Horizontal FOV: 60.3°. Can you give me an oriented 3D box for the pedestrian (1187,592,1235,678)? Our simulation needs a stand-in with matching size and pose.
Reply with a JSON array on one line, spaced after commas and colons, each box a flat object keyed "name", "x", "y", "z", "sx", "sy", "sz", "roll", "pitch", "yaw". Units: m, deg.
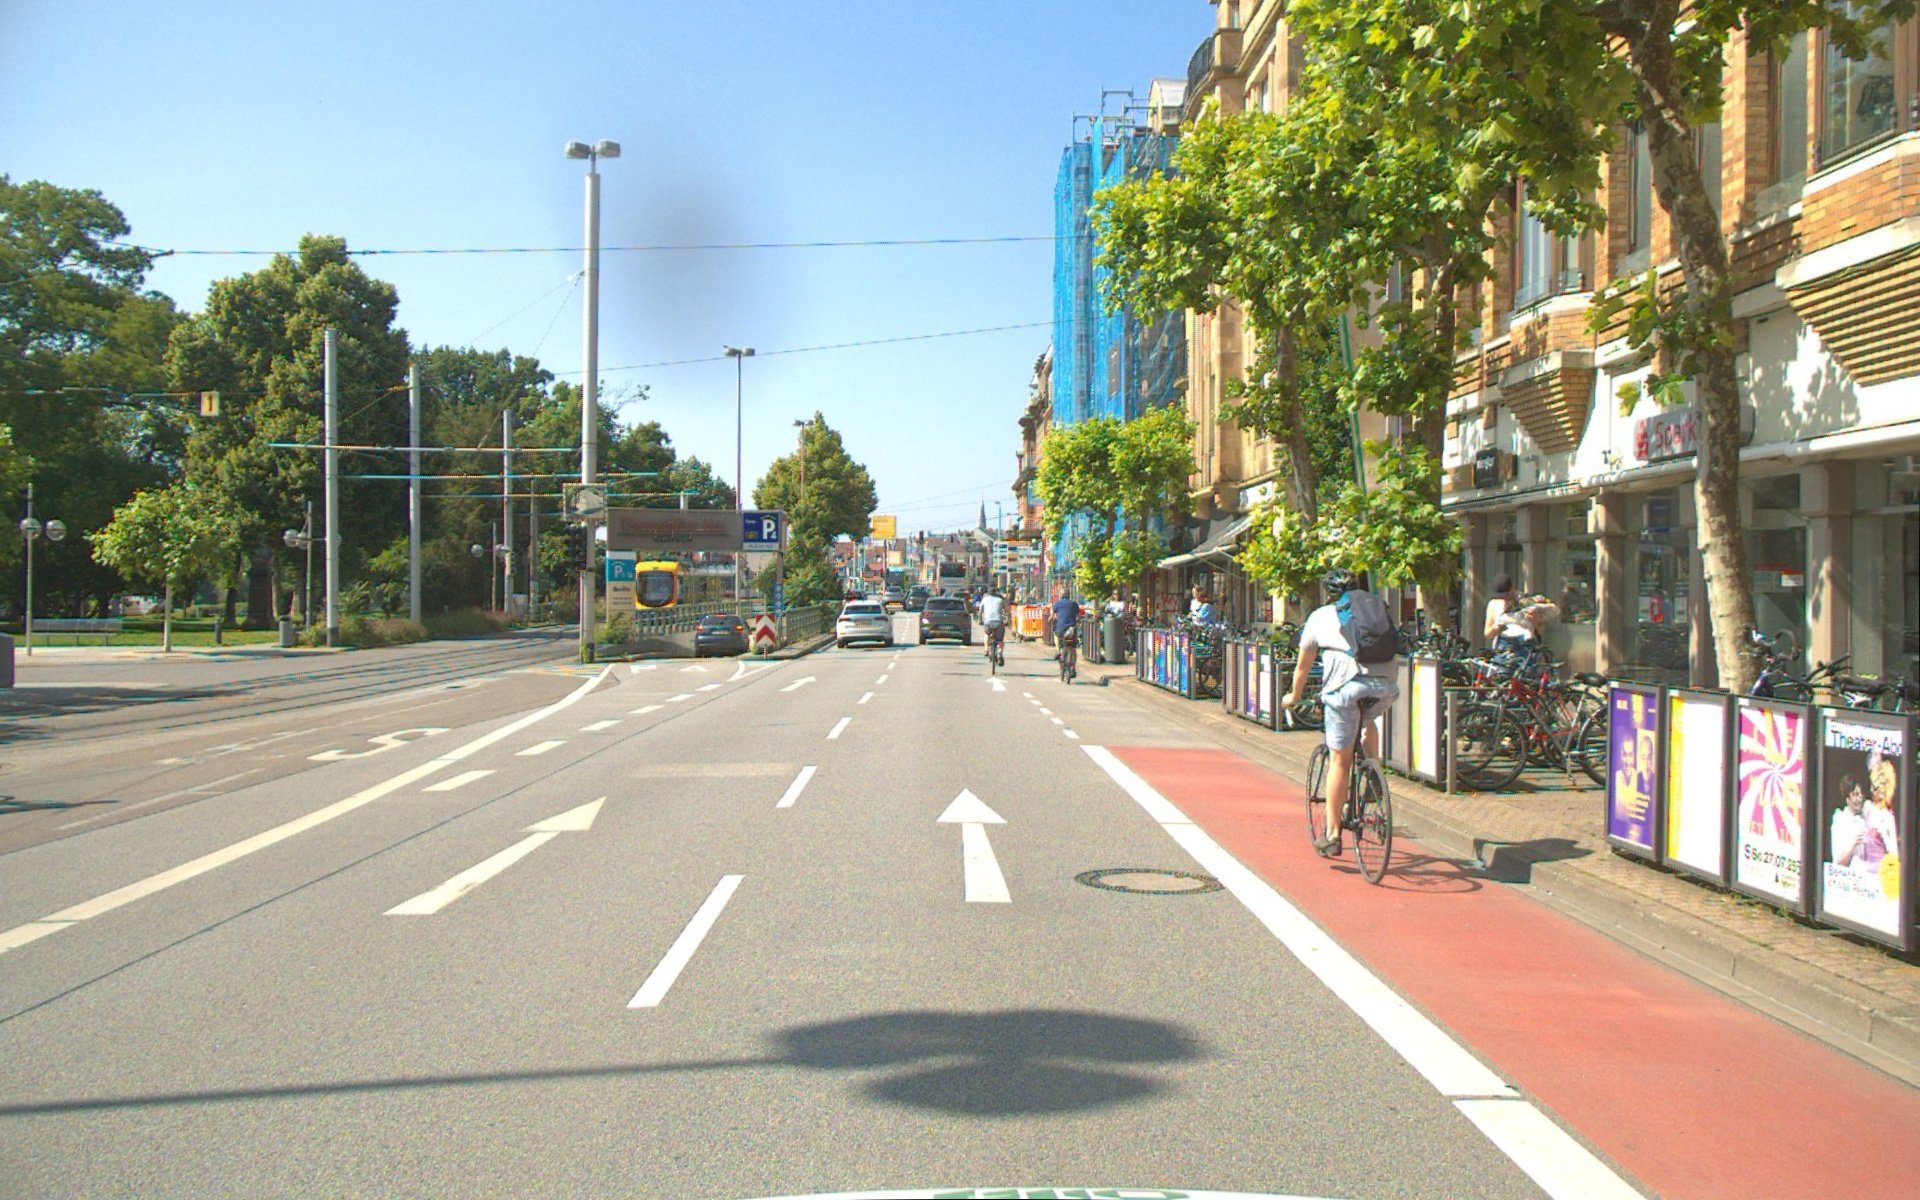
[{"name": "pedestrian", "x": 4.921, "y": 0.683, "z": 32.403, "sx": 0.683, "sy": 1.654, "sz": 0.699, "roll": -1, "pitch": 0, "yaw": -15}]

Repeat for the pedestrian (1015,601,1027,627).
[{"name": "pedestrian", "x": 3.840, "y": 0.881, "z": 104.419, "sx": 0.641, "sy": 1.649, "sz": 0.815, "roll": -1, "pitch": 1, "yaw": -3}]

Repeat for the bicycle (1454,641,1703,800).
[{"name": "bicycle", "x": 4.682, "y": 0.904, "z": 12.558, "sx": 1.718, "sy": 1.167, "sz": 0.499, "roll": 0, "pitch": 0, "yaw": -3}]

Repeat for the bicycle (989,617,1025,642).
[{"name": "bicycle", "x": 2.344, "y": 1.490, "z": 82.517, "sx": 1.735, "sy": 1.199, "sz": 0.608, "roll": 1, "pitch": 0, "yaw": -1}]

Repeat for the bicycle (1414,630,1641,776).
[{"name": "bicycle", "x": 4.662, "y": 0.838, "z": 13.621, "sx": 1.718, "sy": 1.167, "sz": 0.482, "roll": 0, "pitch": 0, "yaw": -3}]

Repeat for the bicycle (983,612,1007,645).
[{"name": "bicycle", "x": 1.211, "y": 0.987, "z": 58.232, "sx": 0.719, "sy": 1.112, "sz": 1.897, "roll": 2, "pitch": 0, "yaw": -2}]

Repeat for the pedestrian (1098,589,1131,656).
[{"name": "pedestrian", "x": 3.999, "y": 0.584, "z": 42.913, "sx": 0.646, "sy": 1.712, "sz": 0.650, "roll": 0, "pitch": -1, "yaw": -18}]

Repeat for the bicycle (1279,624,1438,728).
[{"name": "bicycle", "x": 4.593, "y": 0.870, "z": 19.089, "sx": 1.718, "sy": 1.167, "sz": 0.482, "roll": 0, "pitch": 0, "yaw": -3}]

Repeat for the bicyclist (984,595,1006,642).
[{"name": "bicyclist", "x": 1.220, "y": 0.638, "z": 58.212, "sx": 0.674, "sy": 1.604, "sz": 1.049, "roll": 2, "pitch": 0, "yaw": -3}]

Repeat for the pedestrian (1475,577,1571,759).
[{"name": "pedestrian", "x": 5.329, "y": 0.631, "z": 15.679, "sx": 0.639, "sy": 1.662, "sz": 0.731, "roll": 2, "pitch": 0, "yaw": 3}]

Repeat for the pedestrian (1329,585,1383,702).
[{"name": "pedestrian", "x": 6.292, "y": 0.683, "z": 26.298, "sx": 0.654, "sy": 1.812, "sz": 0.985, "roll": 0, "pitch": -1, "yaw": 3}]

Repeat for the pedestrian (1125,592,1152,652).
[{"name": "pedestrian", "x": 5.733, "y": 0.705, "z": 53.055, "sx": 0.797, "sy": 1.881, "sz": 0.892, "roll": -1, "pitch": -1, "yaw": 6}]

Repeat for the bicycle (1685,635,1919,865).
[{"name": "bicycle", "x": 4.919, "y": 0.805, "z": 9.040, "sx": 1.718, "sy": 1.208, "sz": 0.482, "roll": 0, "pitch": 0, "yaw": -3}]

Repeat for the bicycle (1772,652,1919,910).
[{"name": "bicycle", "x": 4.827, "y": 0.843, "z": 7.872, "sx": 1.718, "sy": 1.167, "sz": 0.482, "roll": 0, "pitch": 0, "yaw": -3}]

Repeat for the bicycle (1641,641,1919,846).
[{"name": "bicycle", "x": 4.913, "y": 0.821, "z": 9.623, "sx": 1.718, "sy": 1.143, "sz": 0.482, "roll": 0, "pitch": 0, "yaw": -3}]

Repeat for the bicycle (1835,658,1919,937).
[{"name": "bicycle", "x": 4.865, "y": 0.855, "z": 7.340, "sx": 1.718, "sy": 1.167, "sz": 0.527, "roll": 0, "pitch": 0, "yaw": -3}]

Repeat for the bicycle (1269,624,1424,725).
[{"name": "bicycle", "x": 4.567, "y": 0.880, "z": 19.590, "sx": 1.718, "sy": 1.167, "sz": 0.482, "roll": 0, "pitch": 0, "yaw": -3}]

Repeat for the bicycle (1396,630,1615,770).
[{"name": "bicycle", "x": 4.644, "y": 0.845, "z": 14.120, "sx": 1.718, "sy": 1.167, "sz": 0.482, "roll": 0, "pitch": 0, "yaw": -3}]

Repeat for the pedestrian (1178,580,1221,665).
[{"name": "pedestrian", "x": 4.776, "y": 0.452, "z": 33.059, "sx": 0.589, "sy": 1.654, "sz": 0.641, "roll": -2, "pitch": 0, "yaw": -15}]

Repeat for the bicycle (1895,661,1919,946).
[{"name": "bicycle", "x": 4.817, "y": 0.846, "z": 6.791, "sx": 1.718, "sy": 1.167, "sz": 0.482, "roll": 0, "pitch": 0, "yaw": -3}]

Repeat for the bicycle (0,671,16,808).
[{"name": "bicycle", "x": -8.439, "y": 1.187, "z": 13.136, "sx": 0.801, "sy": 1.140, "sz": 1.874, "roll": -2, "pitch": 0, "yaw": -1}]

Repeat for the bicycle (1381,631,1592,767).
[{"name": "bicycle", "x": 4.645, "y": 0.871, "z": 14.623, "sx": 1.718, "sy": 1.167, "sz": 0.482, "roll": 0, "pitch": 0, "yaw": -3}]

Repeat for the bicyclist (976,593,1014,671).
[{"name": "bicyclist", "x": 0.731, "y": 0.661, "z": 34.610, "sx": 0.674, "sy": 1.604, "sz": 1.049, "roll": 2, "pitch": 0, "yaw": -3}]

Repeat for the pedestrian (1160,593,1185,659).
[{"name": "pedestrian", "x": 5.586, "y": 0.691, "z": 43.499, "sx": 0.487, "sy": 1.712, "sz": 0.537, "roll": -2, "pitch": -1, "yaw": 19}]

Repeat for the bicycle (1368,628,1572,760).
[{"name": "bicycle", "x": 4.655, "y": 0.853, "z": 15.132, "sx": 1.718, "sy": 1.167, "sz": 0.482, "roll": 0, "pitch": 0, "yaw": -3}]

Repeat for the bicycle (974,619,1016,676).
[{"name": "bicycle", "x": 0.718, "y": 0.983, "z": 34.579, "sx": 0.719, "sy": 1.112, "sz": 1.897, "roll": 2, "pitch": 0, "yaw": -3}]

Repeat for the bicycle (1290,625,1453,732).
[{"name": "bicycle", "x": 4.609, "y": 0.871, "z": 18.566, "sx": 1.718, "sy": 1.167, "sz": 0.482, "roll": 0, "pitch": 0, "yaw": -3}]

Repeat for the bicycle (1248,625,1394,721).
[{"name": "bicycle", "x": 4.497, "y": 0.910, "z": 20.627, "sx": 1.718, "sy": 1.167, "sz": 0.482, "roll": 0, "pitch": 0, "yaw": -3}]

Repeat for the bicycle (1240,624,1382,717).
[{"name": "bicycle", "x": 4.477, "y": 0.895, "z": 21.130, "sx": 1.718, "sy": 1.167, "sz": 0.482, "roll": 0, "pitch": 0, "yaw": -3}]

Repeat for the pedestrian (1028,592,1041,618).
[{"name": "pedestrian", "x": 4.980, "y": 0.320, "z": 110.652, "sx": 0.740, "sy": 1.684, "sz": 0.837, "roll": -3, "pitch": -1, "yaw": -2}]

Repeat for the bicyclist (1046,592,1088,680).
[{"name": "bicyclist", "x": 2.037, "y": 0.680, "z": 31.575, "sx": 0.674, "sy": 1.644, "sz": 0.918, "roll": 2, "pitch": 0, "yaw": -2}]

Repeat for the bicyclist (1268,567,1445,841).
[{"name": "bicyclist", "x": 2.297, "y": 0.575, "z": 9.698, "sx": 0.674, "sy": 1.488, "sz": 1.142, "roll": 2, "pitch": 0, "yaw": -3}]

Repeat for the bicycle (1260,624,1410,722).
[{"name": "bicycle", "x": 4.543, "y": 0.880, "z": 20.085, "sx": 1.718, "sy": 1.167, "sz": 0.482, "roll": 0, "pitch": 0, "yaw": -3}]

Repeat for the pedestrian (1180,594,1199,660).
[{"name": "pedestrian", "x": 6.056, "y": 0.714, "z": 43.622, "sx": 0.373, "sy": 1.712, "sz": 0.477, "roll": -1, "pitch": -1, "yaw": 22}]

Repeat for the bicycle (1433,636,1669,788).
[{"name": "bicycle", "x": 4.674, "y": 0.880, "z": 13.119, "sx": 1.718, "sy": 1.167, "sz": 0.482, "roll": 0, "pitch": 0, "yaw": -3}]

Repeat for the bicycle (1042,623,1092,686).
[{"name": "bicycle", "x": 2.025, "y": 1.018, "z": 31.592, "sx": 0.719, "sy": 1.112, "sz": 1.910, "roll": 2, "pitch": 0, "yaw": -3}]

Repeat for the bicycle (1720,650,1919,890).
[{"name": "bicycle", "x": 4.838, "y": 0.850, "z": 8.443, "sx": 1.718, "sy": 1.167, "sz": 0.482, "roll": 0, "pitch": 0, "yaw": -3}]
